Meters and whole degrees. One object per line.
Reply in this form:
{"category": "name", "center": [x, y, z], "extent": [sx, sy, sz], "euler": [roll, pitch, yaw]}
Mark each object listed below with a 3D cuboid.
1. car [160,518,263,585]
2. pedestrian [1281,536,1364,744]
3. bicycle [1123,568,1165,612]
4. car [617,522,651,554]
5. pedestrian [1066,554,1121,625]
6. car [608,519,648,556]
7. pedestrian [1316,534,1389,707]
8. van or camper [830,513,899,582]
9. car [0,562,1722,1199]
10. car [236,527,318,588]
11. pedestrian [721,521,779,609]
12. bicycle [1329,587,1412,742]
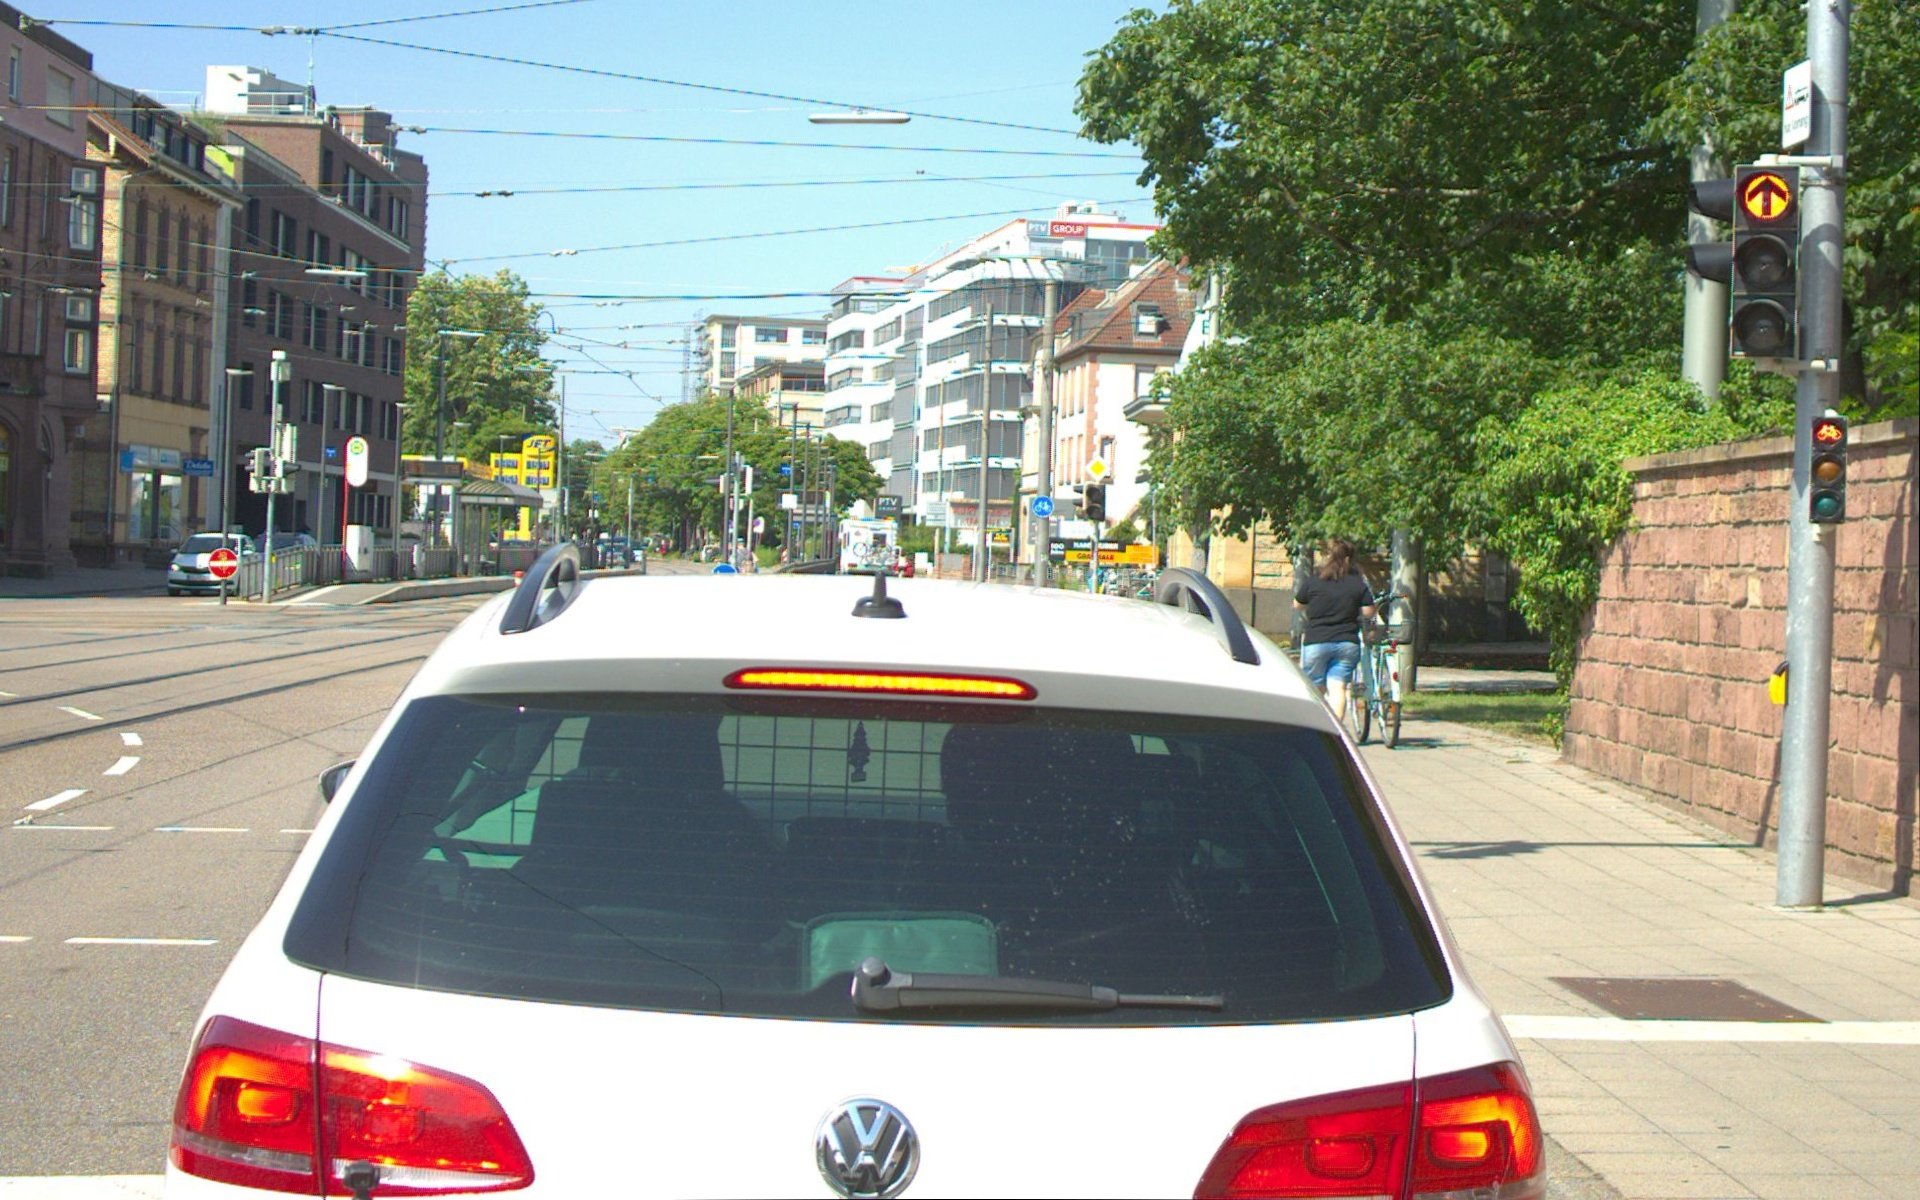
{"category": "car", "center": [-17.473, -1.132, 80.365], "extent": [1.625, 1.426, 3.963], "euler": [3, 1, -2]}
{"category": "pedestrian", "center": [2.717, 0.291, 25.789], "extent": [0.540, 1.543, 0.663], "euler": [0, 1, -1]}
{"category": "bicycle", "center": [4.840, -0.269, 90.308], "extent": [0.726, 1.135, 2.193], "euler": [2, 1, 12]}
{"category": "car", "center": [-21.624, -4.107, 227.972], "extent": [1.993, 2.007, 4.000], "euler": [1, 1, -2]}
{"category": "pedestrian", "center": [2.899, -0.225, 74.497], "extent": [0.857, 1.505, 0.780], "euler": [3, 1, 35]}
{"category": "car", "center": [-18.550, -3.478, 192.150], "extent": [1.993, 2.007, 4.000], "euler": [1, 1, -2]}
{"category": "pedestrian", "center": [3.883, 0.196, 34.072], "extent": [0.650, 1.676, 0.707], "euler": [2, 1, 6]}
{"category": "van or camper", "center": [-4.635, -2.564, 165.960], "extent": [2.943, 3.169, 6.614], "euler": [2, 1, -4]}
{"category": "car", "center": [-0.155, 0.688, 5.384], "extent": [1.752, 1.413, 3.853], "euler": [2, 1, -1]}
{"category": "car", "center": [-17.482, -1.100, 88.120], "extent": [1.572, 1.454, 3.815], "euler": [2, 1, -4]}
{"category": "pedestrian", "center": [-4.420, -0.740, 72.186], "extent": [0.827, 1.803, 0.833], "euler": [1, 1, -39]}
{"category": "bicycle", "center": [3.101, 0.466, 25.876], "extent": [0.536, 1.107, 1.806], "euler": [1, 0, 9]}
